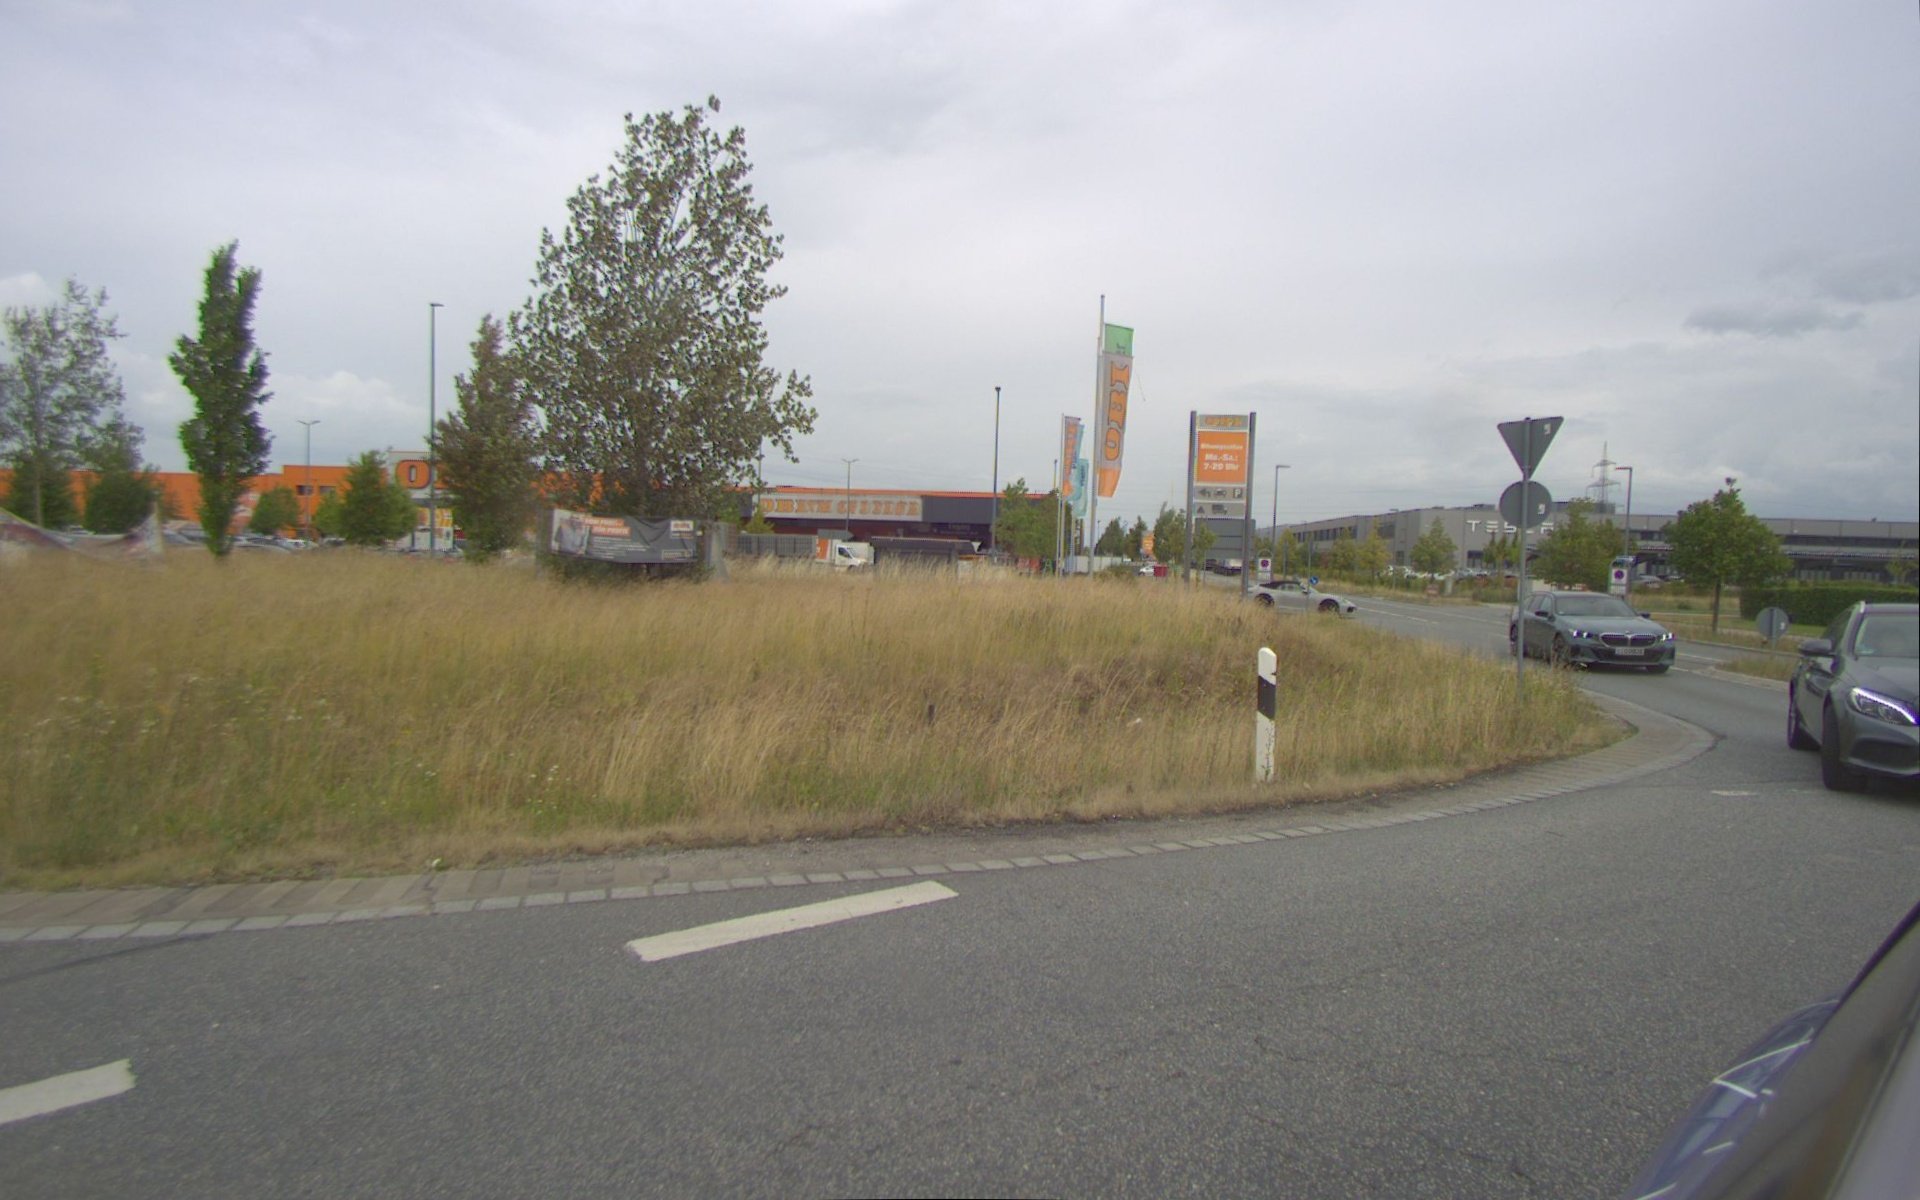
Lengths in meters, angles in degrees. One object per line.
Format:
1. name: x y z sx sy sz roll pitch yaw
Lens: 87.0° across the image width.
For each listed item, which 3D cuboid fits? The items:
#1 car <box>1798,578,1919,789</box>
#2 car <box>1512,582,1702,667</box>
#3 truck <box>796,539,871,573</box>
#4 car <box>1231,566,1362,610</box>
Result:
1. car: 8.332 0.610 8.383 1.918 1.421 4.624 2 1 37
2. car: 13.283 0.420 21.152 1.971 1.526 4.661 1 1 15
3. truck: -9.884 -3.434 79.226 5.451 2.515 2.438 1 1 4
4. car: 13.119 -0.481 39.603 4.700 1.421 1.732 3 1 21
